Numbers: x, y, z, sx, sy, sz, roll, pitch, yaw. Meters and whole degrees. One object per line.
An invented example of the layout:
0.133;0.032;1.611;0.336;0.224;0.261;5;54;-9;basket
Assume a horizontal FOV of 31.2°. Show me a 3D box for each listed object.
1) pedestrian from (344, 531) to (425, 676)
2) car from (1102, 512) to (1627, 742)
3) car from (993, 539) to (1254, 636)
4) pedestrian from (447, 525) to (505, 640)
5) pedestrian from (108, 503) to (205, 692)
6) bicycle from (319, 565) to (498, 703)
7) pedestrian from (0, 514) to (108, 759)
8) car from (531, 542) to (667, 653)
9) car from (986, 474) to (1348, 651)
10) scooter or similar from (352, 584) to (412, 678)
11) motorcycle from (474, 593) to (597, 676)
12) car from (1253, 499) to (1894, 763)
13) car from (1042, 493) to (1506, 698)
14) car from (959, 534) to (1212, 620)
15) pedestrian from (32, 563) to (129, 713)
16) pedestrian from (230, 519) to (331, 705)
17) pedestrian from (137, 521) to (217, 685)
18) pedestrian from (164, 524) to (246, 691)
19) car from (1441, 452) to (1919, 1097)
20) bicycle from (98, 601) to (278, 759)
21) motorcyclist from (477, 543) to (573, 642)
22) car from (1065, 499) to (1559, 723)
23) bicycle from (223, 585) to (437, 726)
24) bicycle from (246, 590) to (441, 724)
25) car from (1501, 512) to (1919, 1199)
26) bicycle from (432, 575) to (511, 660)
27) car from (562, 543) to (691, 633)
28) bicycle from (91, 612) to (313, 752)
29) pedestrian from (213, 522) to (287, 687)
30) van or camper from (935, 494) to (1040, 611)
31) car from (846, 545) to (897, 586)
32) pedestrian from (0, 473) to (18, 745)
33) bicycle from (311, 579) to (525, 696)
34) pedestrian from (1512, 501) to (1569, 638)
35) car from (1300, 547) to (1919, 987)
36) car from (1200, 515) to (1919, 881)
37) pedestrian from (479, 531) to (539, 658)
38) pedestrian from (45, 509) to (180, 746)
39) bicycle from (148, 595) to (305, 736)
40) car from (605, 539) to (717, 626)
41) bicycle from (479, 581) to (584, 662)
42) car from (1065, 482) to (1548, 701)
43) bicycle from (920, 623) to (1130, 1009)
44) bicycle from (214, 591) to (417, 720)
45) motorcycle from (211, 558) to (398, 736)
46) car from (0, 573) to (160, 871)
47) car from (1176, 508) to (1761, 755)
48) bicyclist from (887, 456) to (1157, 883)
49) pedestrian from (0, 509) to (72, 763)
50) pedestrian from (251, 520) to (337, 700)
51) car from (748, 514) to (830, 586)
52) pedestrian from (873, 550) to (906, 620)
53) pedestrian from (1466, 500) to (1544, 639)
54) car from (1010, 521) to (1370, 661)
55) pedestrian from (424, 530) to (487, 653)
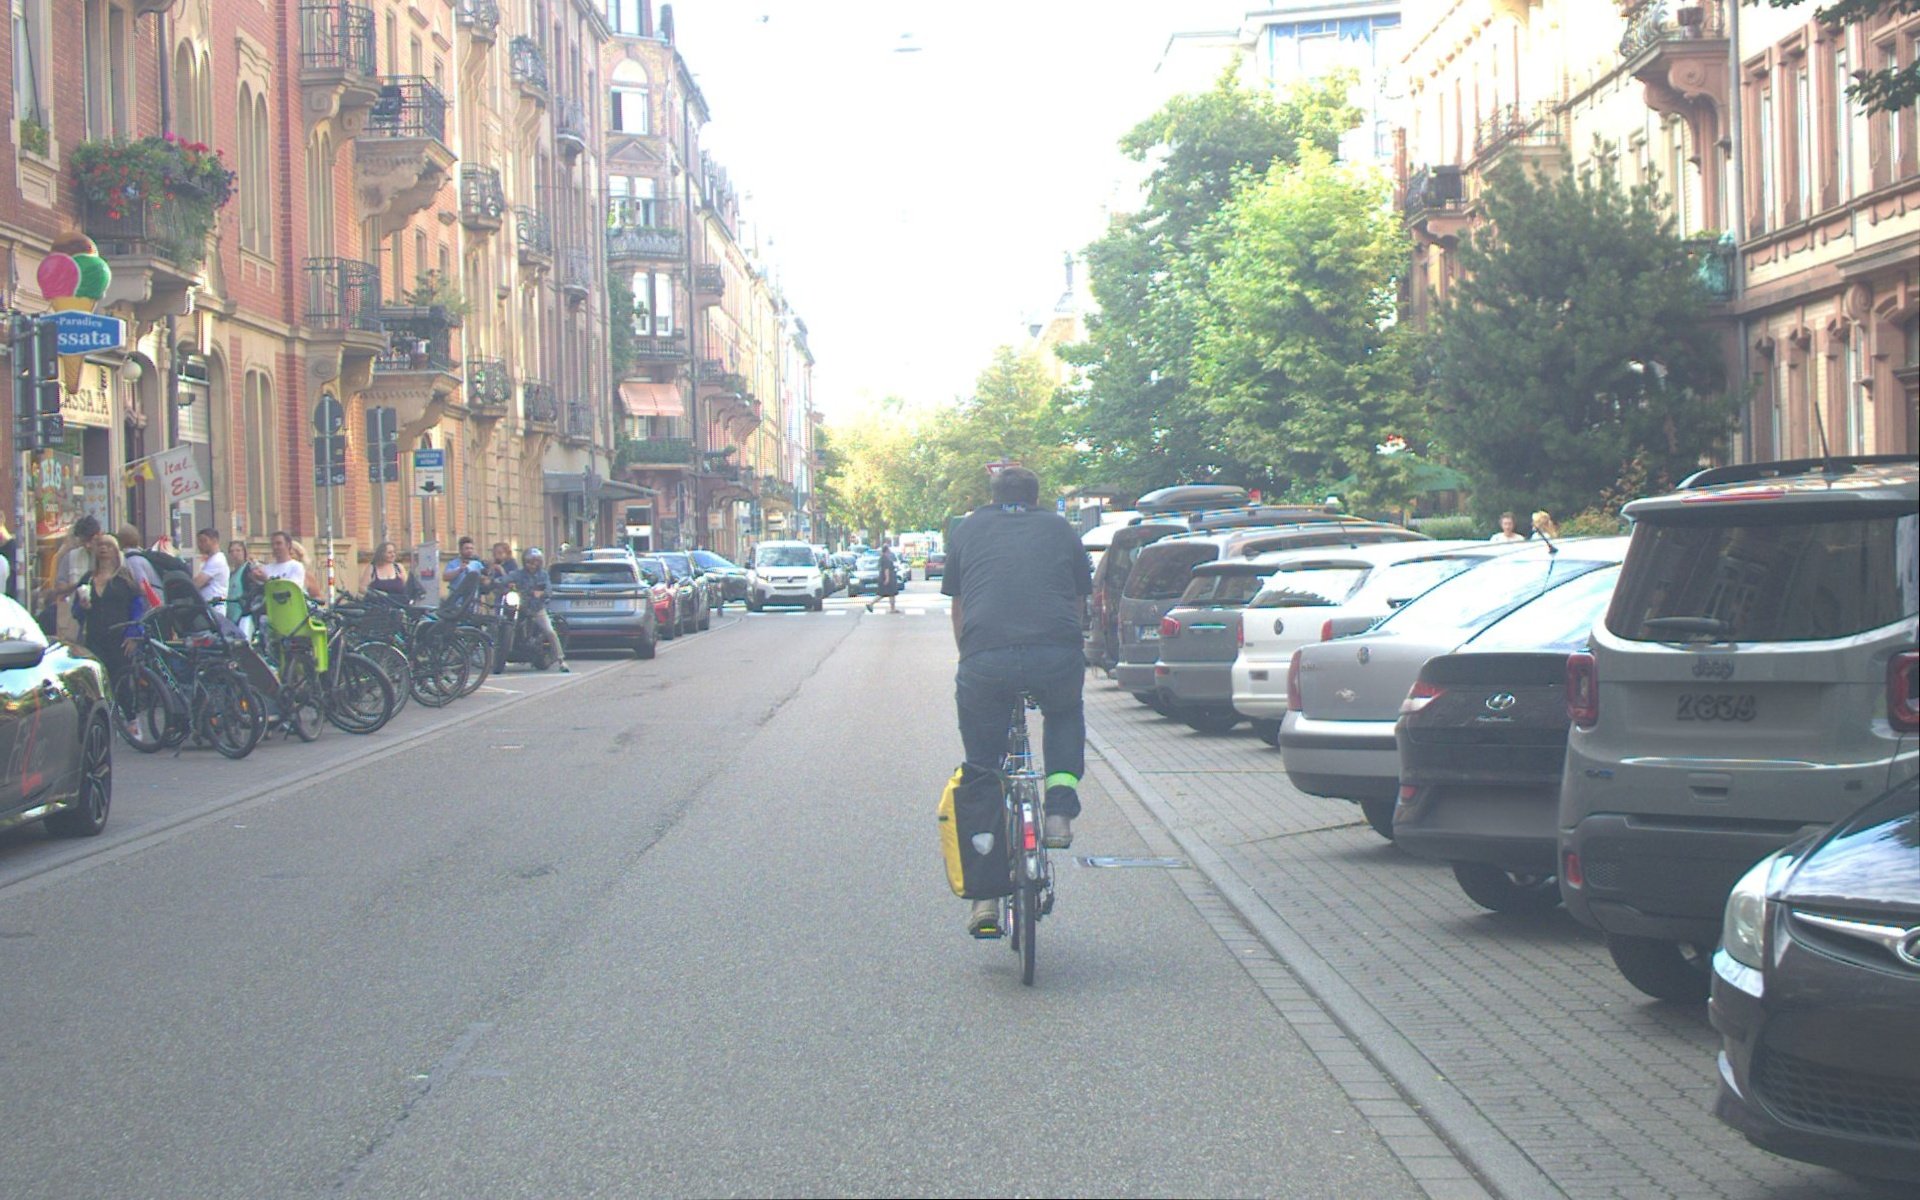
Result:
-6.648;0.028;39.770;0.910;1.655;0.828;0;1;-9;pedestrian
3.321;0.182;27.933;3.988;1.543;1.868;-5;2;-37;car
2.982;-0.247;62.322;4.455;1.459;1.879;-5;3;-35;car
-7.642;-0.284;54.328;0.756;1.802;0.863;0;1;3;pedestrian
-7.932;-0.031;33.947;0.761;1.847;0.666;0;1;-31;pedestrian
-5.383;0.317;33.603;1.672;1.317;0.527;-1;1;-36;bicycle
-6.736;0.255;25.080;0.762;1.753;0.665;0;1;30;pedestrian
-5.349;-0.072;51.446;1.825;1.573;5.264;0;1;-4;car
3.099;-0.576;50.881;5.144;2.397;1.918;-3;1;-33;car
-6.560;0.345;39.053;0.605;1.051;0.922;0;1;-6;scooter or similar
-5.432;0.424;43.833;0.793;0.992;2.500;0;1;-26;motorcycle
4.123;0.187;22.887;3.988;1.456;1.887;-4;0;-36;car
3.287;-0.077;36.617;4.636;1.778;1.810;-4;3;-1;car
2.596;-0.498;70.738;4.753;1.452;2.057;-4;3;-28;car
-7.794;0.326;30.483;0.723;1.309;0.606;0;1;-4;pedestrian
-6.452;0.104;32.672;0.605;1.745;0.945;0;1;12;pedestrian
-8.169;0.025;35.887;0.663;1.690;0.763;0;1;0;pedestrian
-7.725;0.073;35.149;0.663;1.690;0.586;0;1;-31;pedestrian
3.641;0.371;10.842;3.988;1.693;1.852;-3;2;-35;car
-5.679;0.572;25.253;1.580;1.113;0.373;0;1;38;bicycle
-5.572;-0.105;44.014;1.013;1.241;0.803;-1;1;-26;motorcyclist
3.142;0.068;30.507;3.987;1.735;1.840;-3;1;-31;car
-5.557;0.478;30.385;1.785;1.196;0.591;-1;1;-36;bicycle
-5.333;0.479;29.770;1.566;1.117;0.591;-1;1;-37;bicycle
3.391;0.567;8.013;4.113;1.516;1.844;-1;0;-37;car
-6.444;0.215;45.419;0.493;1.091;1.904;1;1;8;bicycle
-6.048;-0.239;62.838;1.993;1.539;4.427;-1;1;-1;car
-5.746;0.613;26.052;1.683;1.027;0.409;0;1;20;bicycle
-7.366;0.040;35.666;0.563;1.690;0.647;0;1;-31;pedestrian
0.721;-1.294;93.262;2.531;3.027;4.459;-2;1;-3;van or camper
-3.174;-1.227;122.647;1.750;1.431;4.212;-1;0;-2;car
-7.432;0.071;25.379;0.644;2.007;0.629;0;1;28;pedestrian
-5.599;0.370;35.654;0.807;1.155;2.265;1;1;37;bicycle
7.036;-0.371;41.692;0.573;1.653;0.633;0;1;0;pedestrian
3.551;0.539;13.774;4.125;1.413;1.869;-3;2;-36;car
3.616;0.388;17.109;4.597;1.446;1.793;-4;2;-32;car
-6.104;-0.082;46.496;0.564;1.703;0.667;0;1;-35;pedestrian
-6.575;0.203;26.686;0.762;1.812;0.665;0;1;30;pedestrian
-5.974;0.519;28.086;0.578;1.086;1.737;0;1;12;bicycle
-5.906;-0.358;68.310;1.790;1.623;4.847;-2;1;0;car
-5.690;0.273;45.741;0.482;1.055;1.902;1;1;24;bicycle
3.371;-0.100;33.154;4.390;1.816;1.755;-4;1;-32;car
0.193;0.696;12.194;0.665;1.174;2.497;0;1;-1;bicycle
-5.796;0.488;30.972;1.733;1.117;0.555;-1;1;-36;bicycle
-5.287;0.356;27.868;0.707;1.379;2.022;0;1;14;motorcycle
-5.358;0.566;16.806;1.812;1.346;5.116;-1;1;-1;car
3.761;0.215;25.236;3.988;1.446;1.736;-5;1;-32;car
0.211;0.234;12.298;0.933;1.479;0.747;0;1;-1;bicyclist
-7.159;0.263;25.955;0.647;1.885;0.600;0;1;30;pedestrian
-6.548;0.092;33.810;0.605;1.745;0.725;0;1;10;pedestrian
-4.455;-1.315;90.103;1.917;1.822;4.438;0;1;0;car
-1.755;-0.374;85.914;0.629;1.733;0.775;-1;1;12;pedestrian
6.712;-0.383;42.314;0.646;1.689;0.699;-1;1;-44;pedestrian
3.052;-0.155;45.160;4.444;1.726;2.000;-1;2;-35;car
-6.851;-0.120;46.681;0.679;1.655;0.551;0;1;-30;pedestrian
